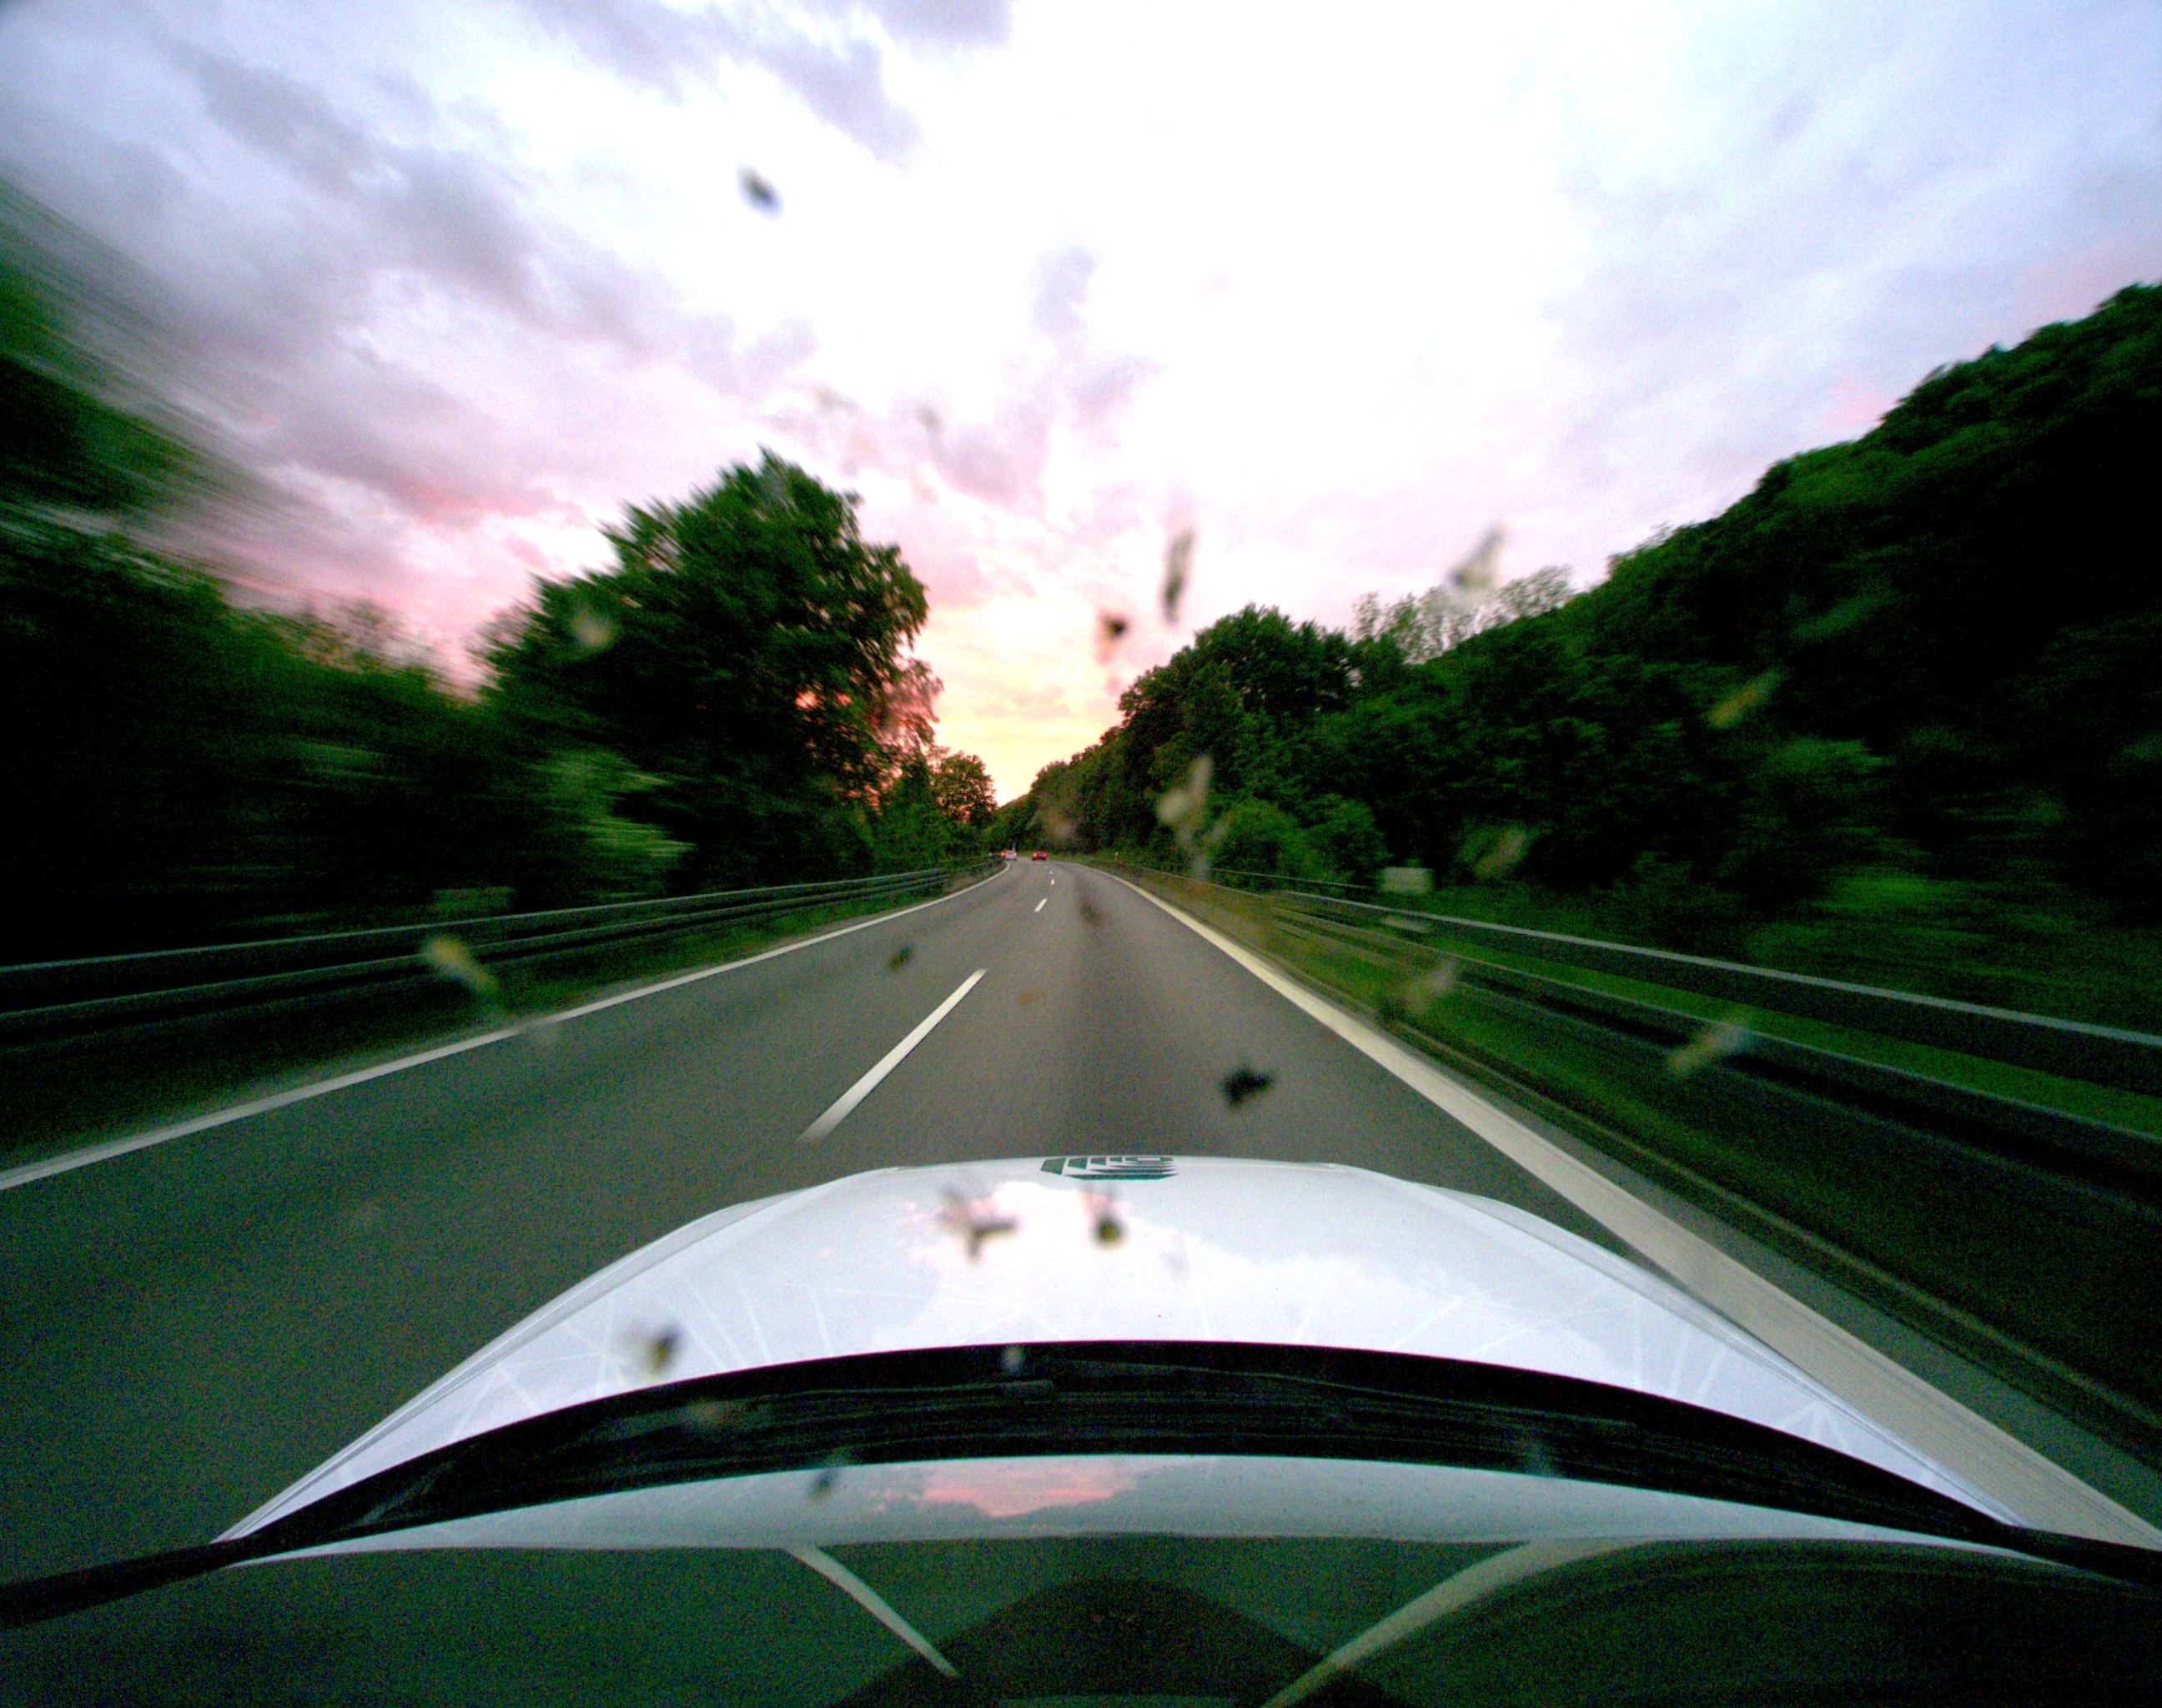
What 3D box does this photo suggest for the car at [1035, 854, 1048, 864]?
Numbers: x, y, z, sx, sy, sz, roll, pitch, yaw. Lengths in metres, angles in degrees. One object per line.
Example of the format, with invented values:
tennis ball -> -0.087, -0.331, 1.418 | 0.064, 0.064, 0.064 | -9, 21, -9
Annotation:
car -> -6.124, 0.799, 125.665 | 1.876, 1.466, 3.991 | 1, 1, -6

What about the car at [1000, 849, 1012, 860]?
car -> -12.876, 0.165, 140.056 | 1.715, 1.635, 3.993 | -5, -2, -4

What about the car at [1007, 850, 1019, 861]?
car -> -10.811, 0.228, 129.038 | 1.714, 1.501, 3.995 | 1, -2, -3
